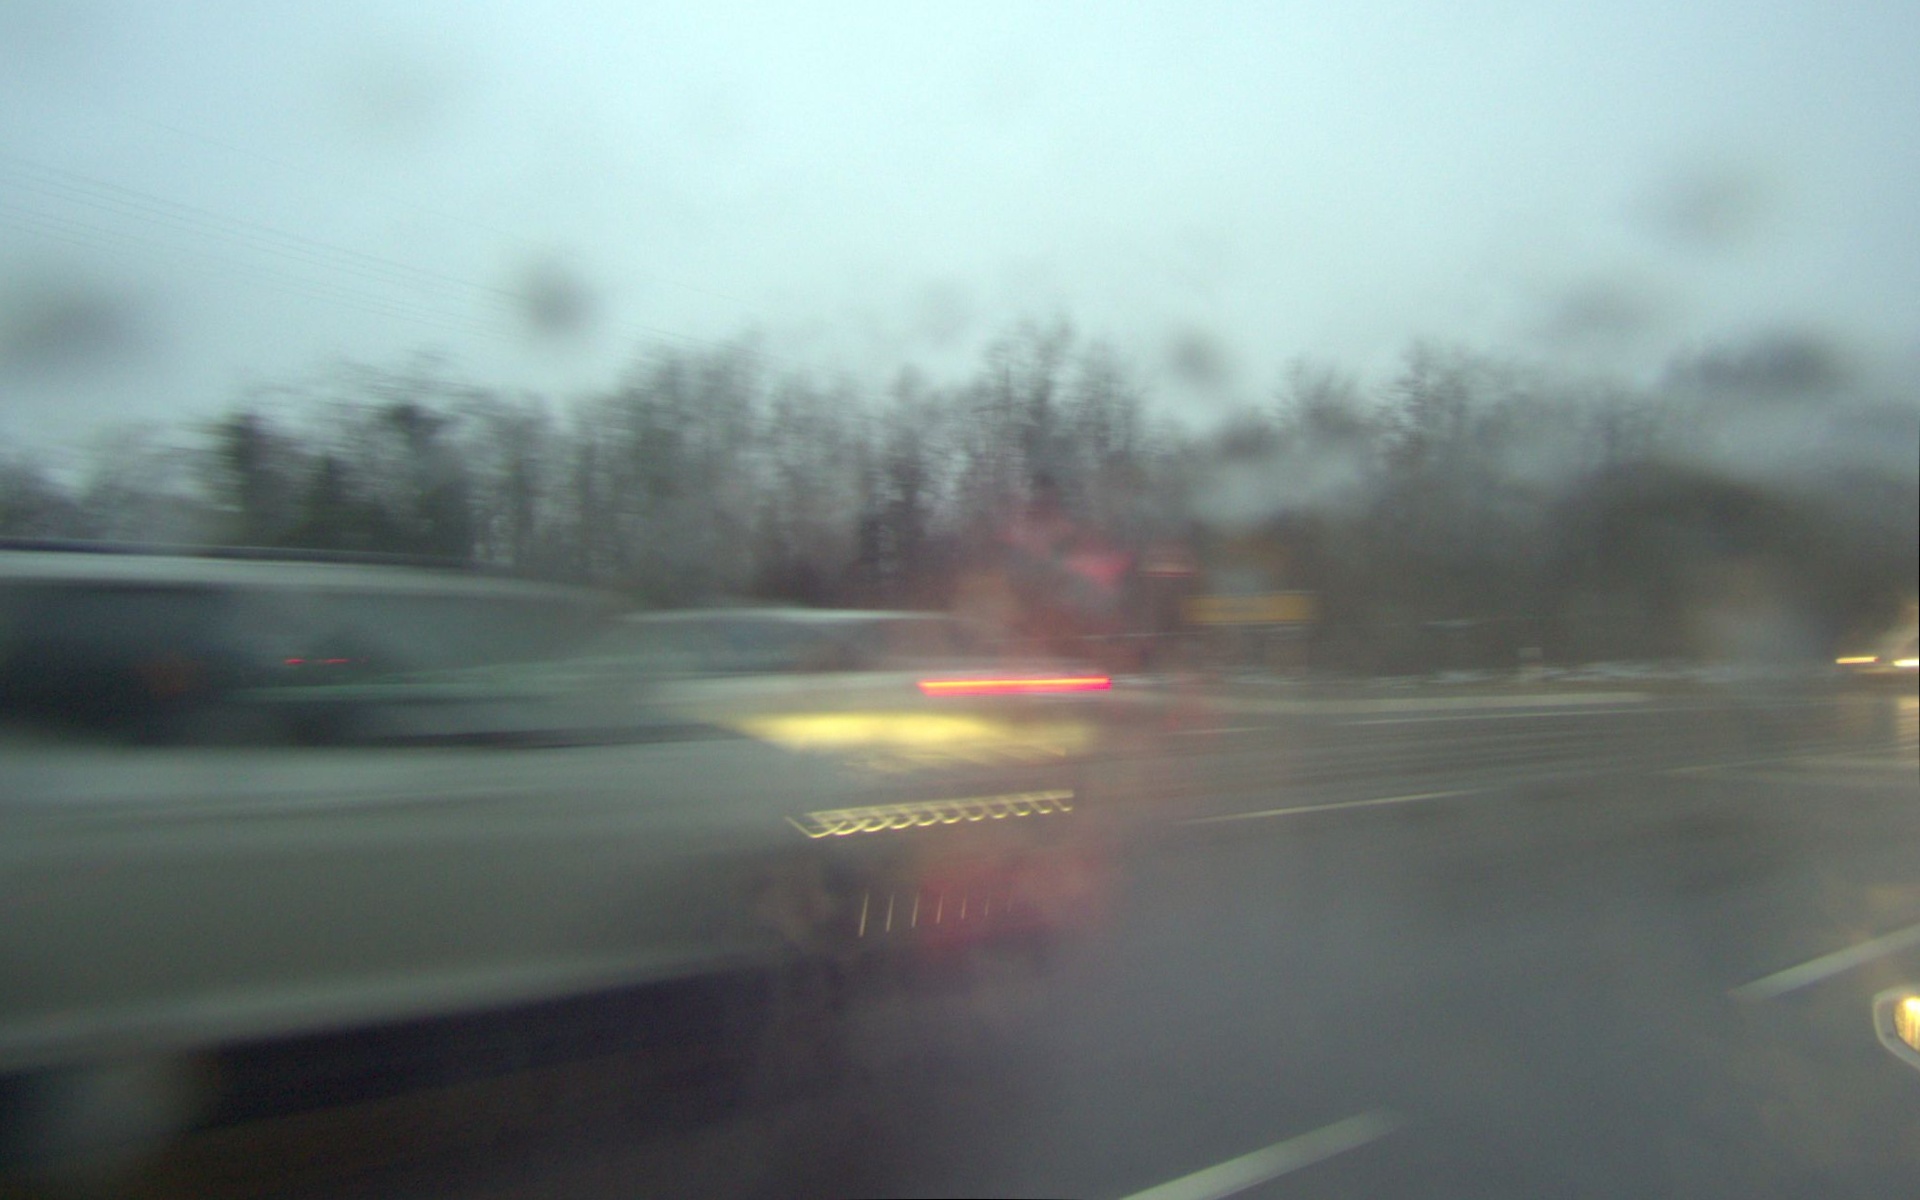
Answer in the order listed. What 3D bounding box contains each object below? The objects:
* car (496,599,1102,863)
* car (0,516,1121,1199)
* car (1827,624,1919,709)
[{"bbox_3d":[-1.198,0.863,8.158,4.520,1.638,1.814,1,-1,-30],"label":"car"},{"bbox_3d":[-1.673,0.678,3.126,4.168,1.648,1.704,1,-1,-30],"label":"car"},{"bbox_3d":[24.734,1.673,25.519,4.281,1.996,1.840,2,0,-11],"label":"car"}]
